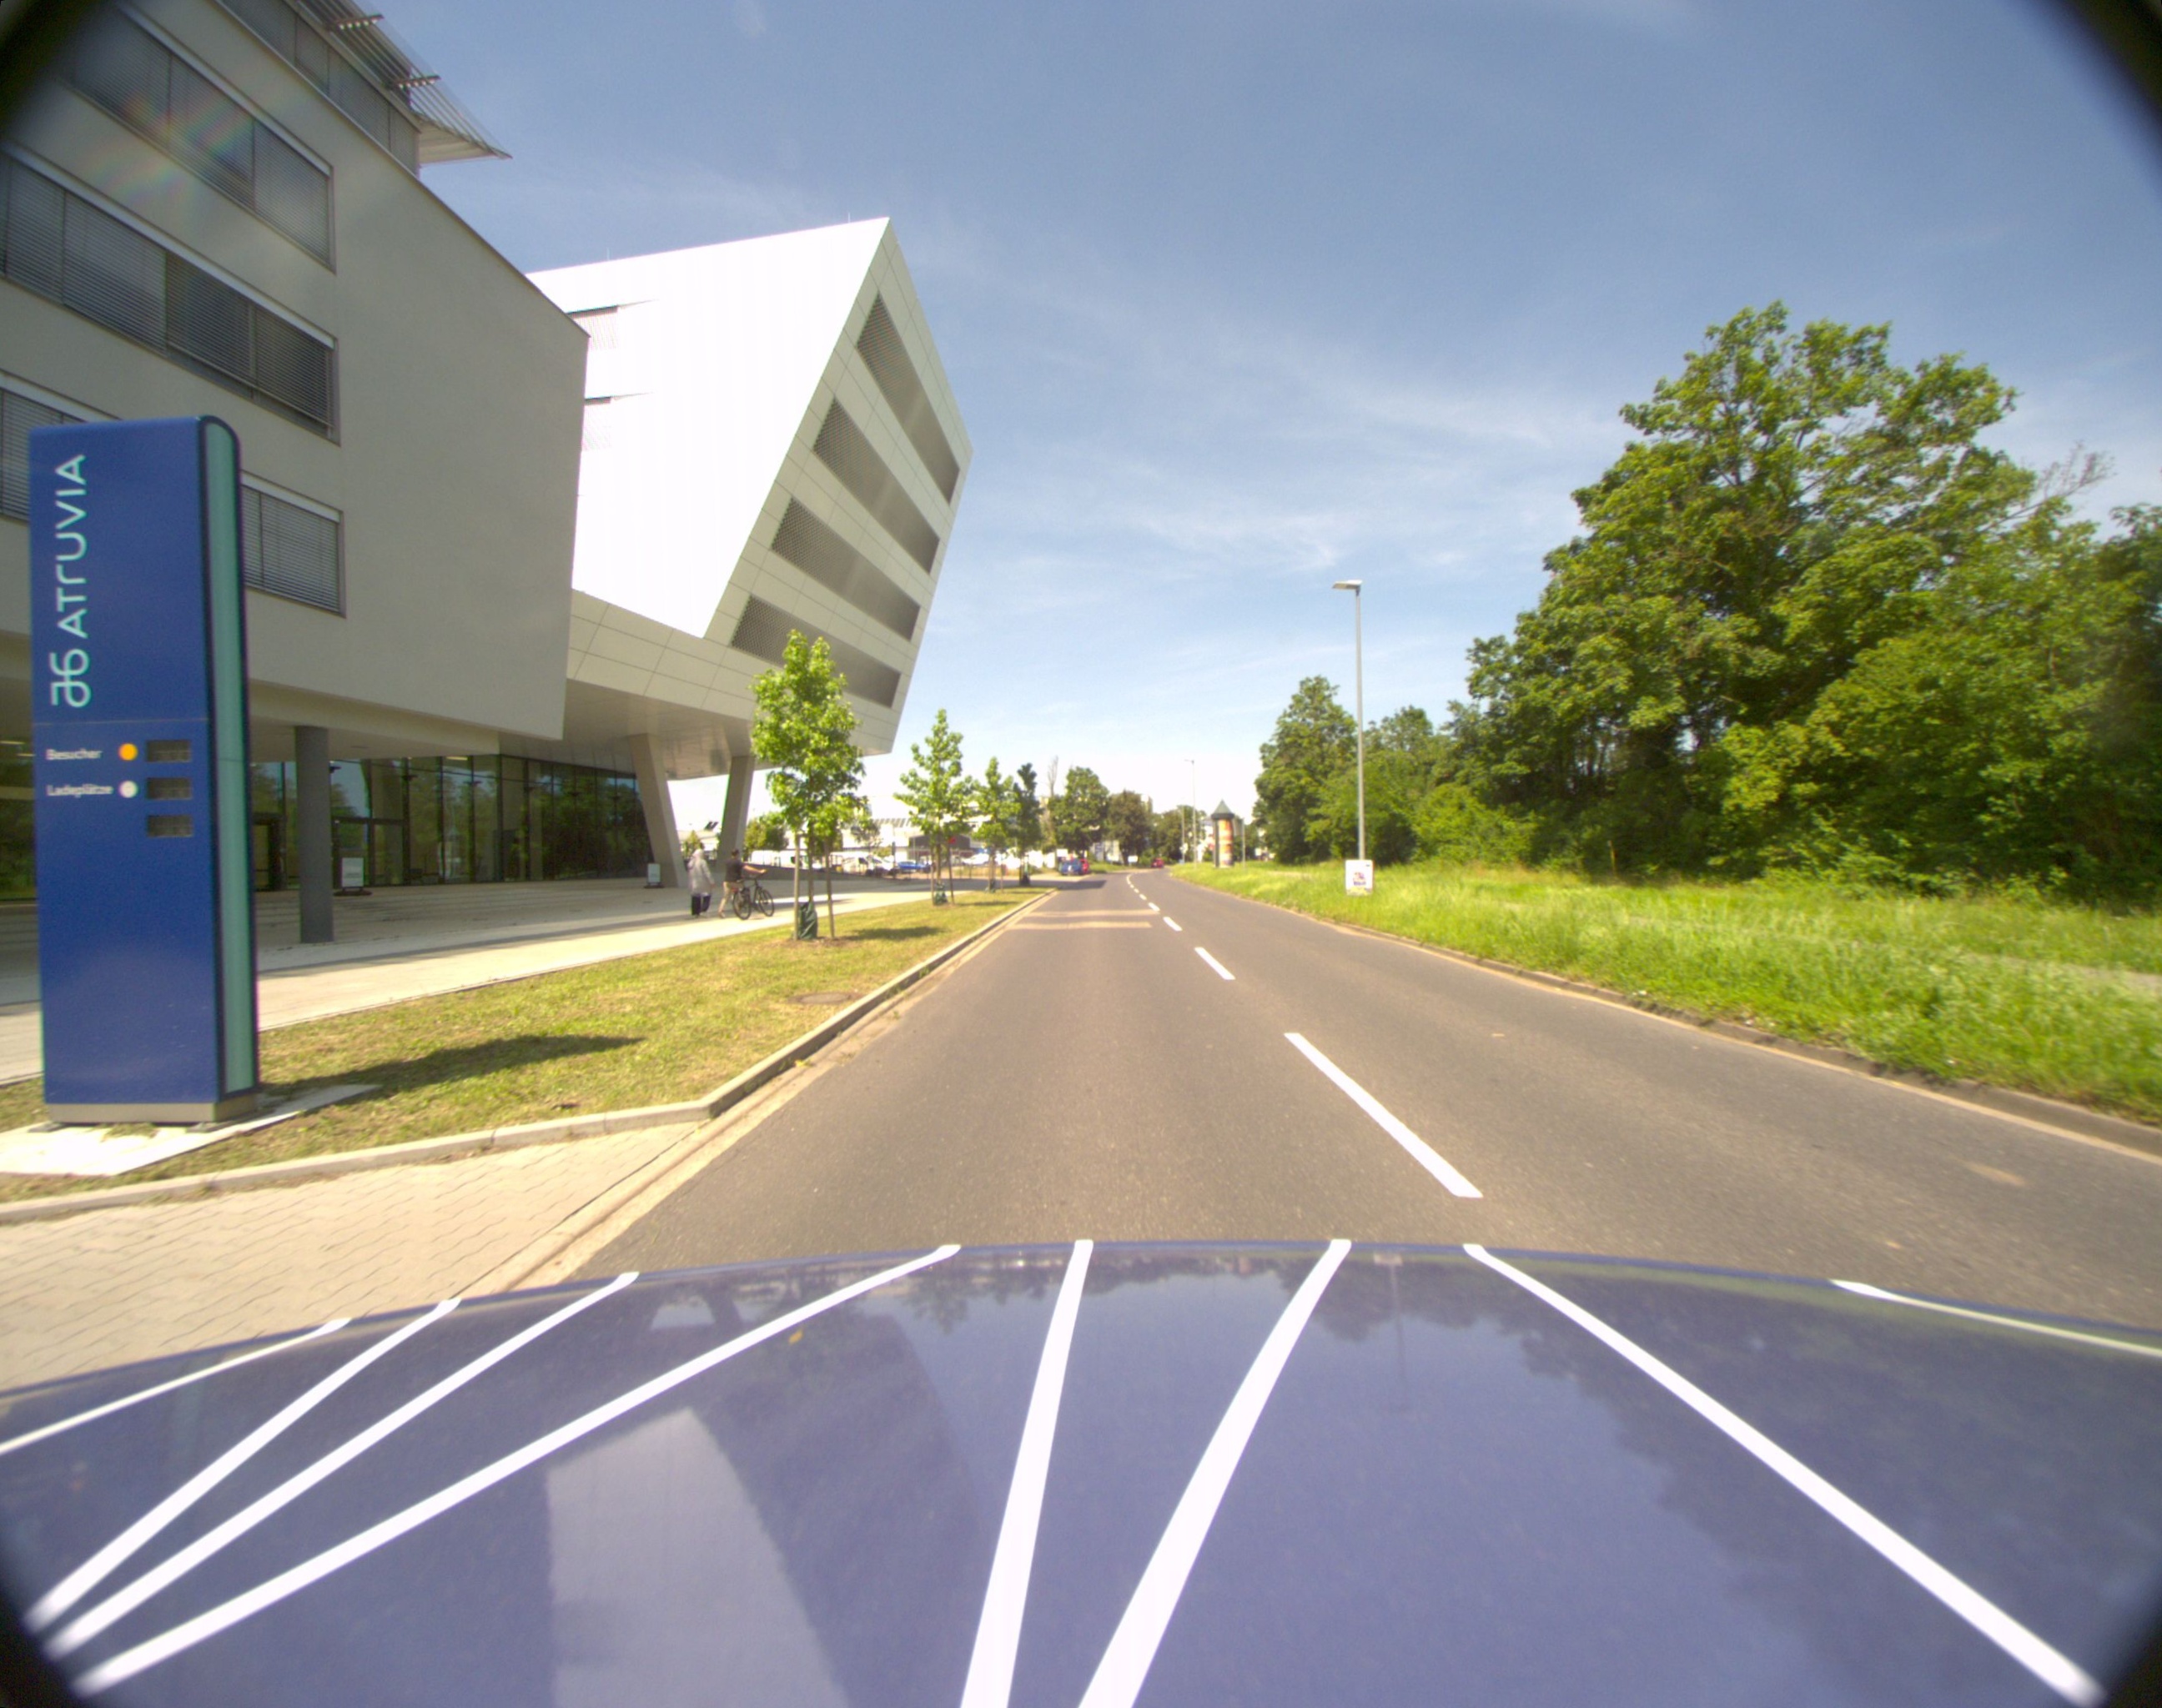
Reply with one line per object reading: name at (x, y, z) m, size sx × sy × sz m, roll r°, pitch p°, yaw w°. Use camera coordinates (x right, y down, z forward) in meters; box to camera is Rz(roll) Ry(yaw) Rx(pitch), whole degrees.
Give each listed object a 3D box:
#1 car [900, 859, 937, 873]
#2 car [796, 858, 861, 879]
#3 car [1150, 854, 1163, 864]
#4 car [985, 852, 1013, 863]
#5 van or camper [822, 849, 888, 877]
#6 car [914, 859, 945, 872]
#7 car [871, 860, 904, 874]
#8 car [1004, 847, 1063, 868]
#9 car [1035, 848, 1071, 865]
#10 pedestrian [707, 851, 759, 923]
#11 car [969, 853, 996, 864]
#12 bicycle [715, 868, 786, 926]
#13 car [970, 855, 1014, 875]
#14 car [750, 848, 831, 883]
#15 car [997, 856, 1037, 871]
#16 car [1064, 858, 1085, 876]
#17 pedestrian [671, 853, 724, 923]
car at (-18.353, 1.344, 85.960) m, size 3.815 × 1.362 × 1.460 m, roll -2°, pitch 1°, yaw 8°
car at (-22.553, 1.329, 67.843) m, size 5.224 × 1.631 × 1.704 m, roll -2°, pitch 1°, yaw 8°
car at (11.460, 0.725, 115.442) m, size 1.711 × 1.368 × 3.677 m, roll -2°, pitch 0°, yaw 10°
car at (-14.011, 0.625, 129.851) m, size 4.320 × 1.647 × 1.704 m, roll -2°, pitch 1°, yaw 8°
van or camper at (-21.488, 0.870, 72.278) m, size 5.698 × 2.376 × 1.704 m, roll -2°, pitch 1°, yaw 8°
car at (-17.641, 1.304, 88.698) m, size 3.226 × 1.342 × 1.409 m, roll -2°, pitch 1°, yaw 8°
car at (-18.948, 1.262, 74.507) m, size 2.894 × 1.296 × 1.201 m, roll -2°, pitch 1°, yaw 8°
car at (-5.553, 0.412, 88.890) m, size 6.491 × 2.137 × 2.166 m, roll -2°, pitch 1°, yaw 8°
car at (-3.498, 0.290, 94.571) m, size 4.203 × 1.964 × 1.704 m, roll -2°, pitch 1°, yaw 8°
pedestrian at (-8.538, 0.797, 18.690) m, size 0.844 × 1.691 × 0.775 m, roll -2°, pitch 1°, yaw 1°
car at (-15.332, 0.678, 118.387) m, size 3.916 × 1.533 × 1.704 m, roll -2°, pitch 1°, yaw 8°
bicycle at (-8.001, 1.009, 18.529) m, size 0.645 × 1.247 × 2.305 m, roll -2°, pitch 0°, yaw 1°
car at (-8.414, 1.027, 72.022) m, size 3.821 × 1.664 × 1.742 m, roll -2°, pitch 1°, yaw 5°
car at (-22.715, 0.871, 59.503) m, size 5.580 × 2.445 × 2.001 m, roll -2°, pitch 1°, yaw 8°
car at (-6.847, 1.012, 81.688) m, size 3.995 × 1.385 × 1.653 m, roll -2°, pitch 1°, yaw 5°
car at (-0.603, 1.197, 69.852) m, size 1.801 × 1.490 × 4.000 m, roll -2°, pitch 0°, yaw 1°
pedestrian at (-9.416, 0.812, 18.690) m, size 0.844 × 1.650 × 0.775 m, roll -2°, pitch 1°, yaw 1°
